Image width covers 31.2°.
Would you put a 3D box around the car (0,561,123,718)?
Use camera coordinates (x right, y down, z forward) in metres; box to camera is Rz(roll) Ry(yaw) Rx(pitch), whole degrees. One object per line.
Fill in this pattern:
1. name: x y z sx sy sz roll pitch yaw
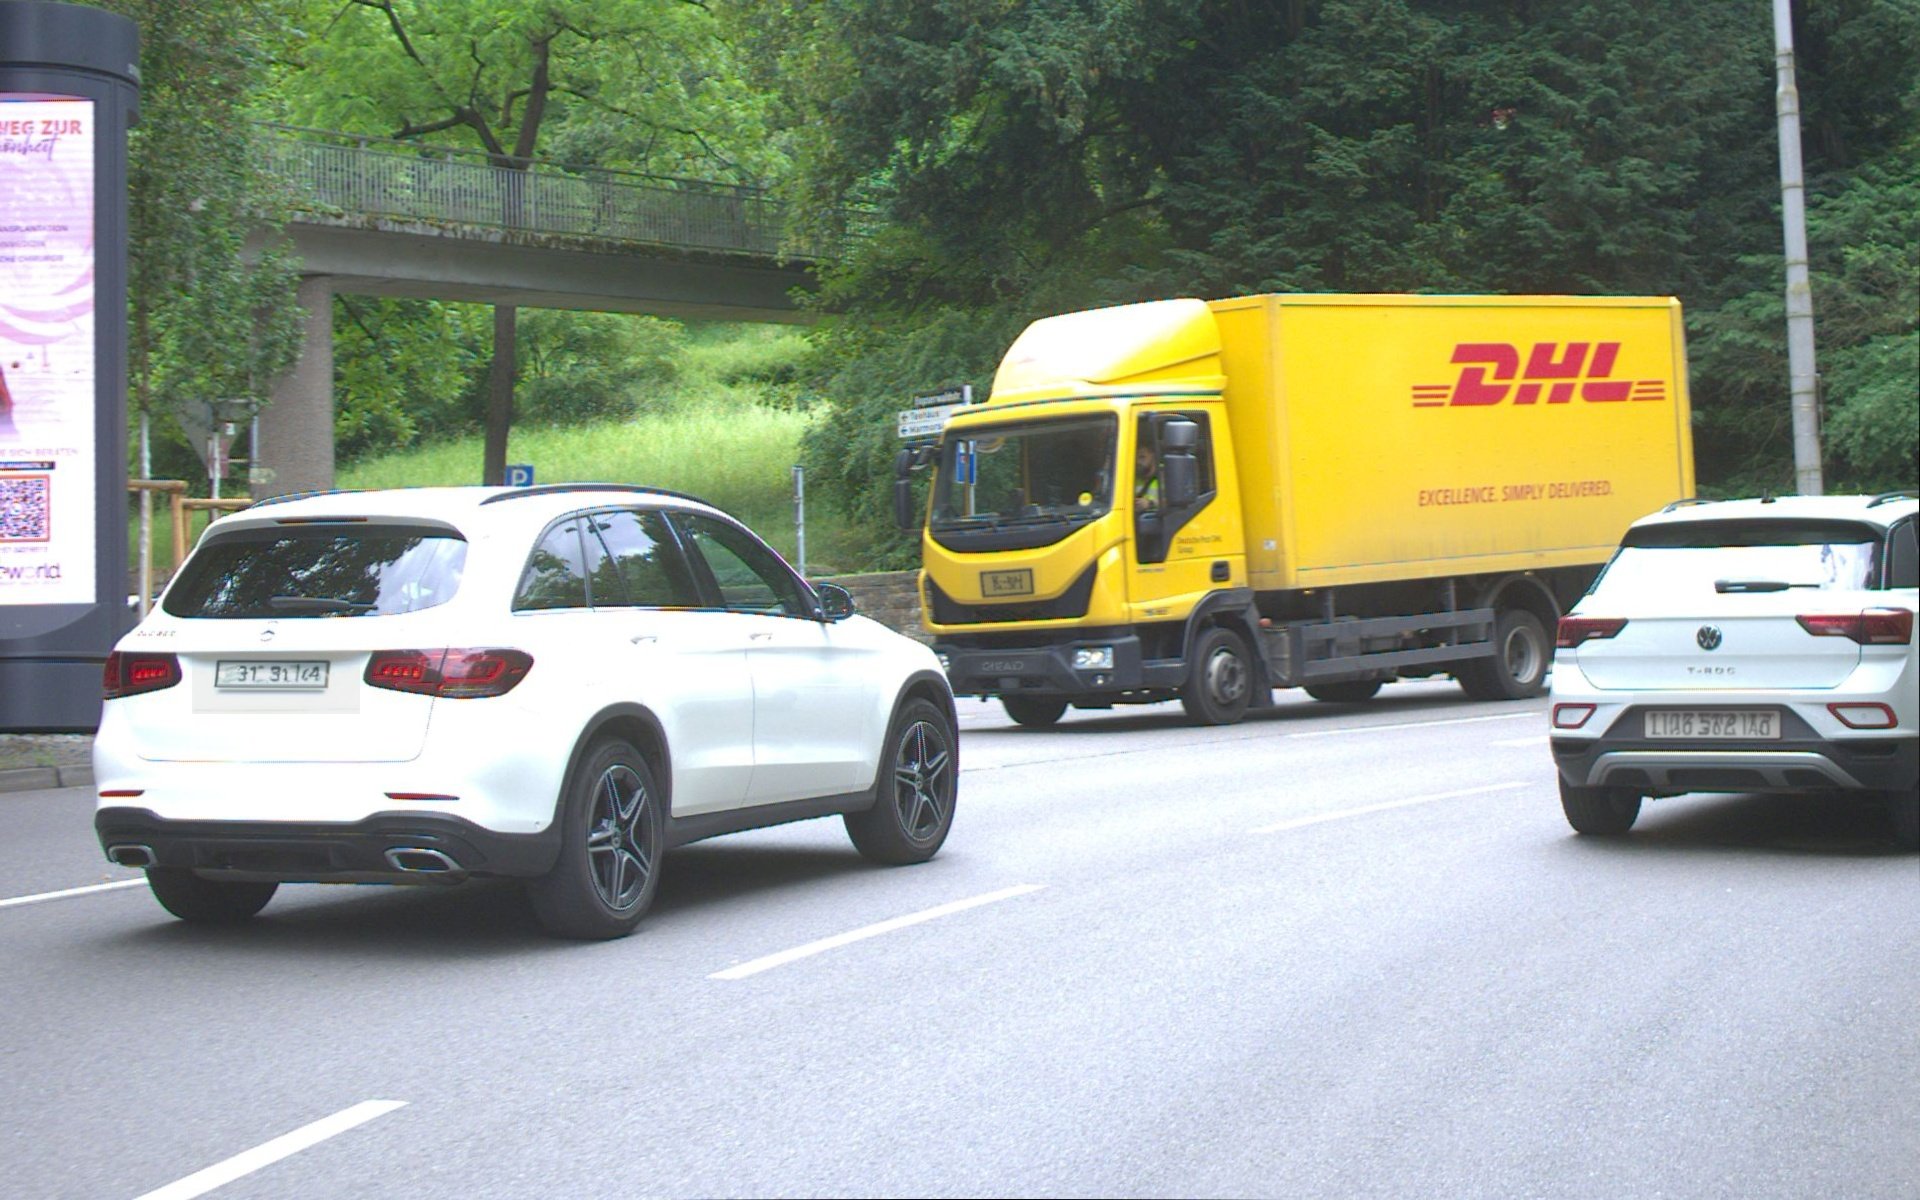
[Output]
1. car: -11.445 0.439 38.887 1.803 1.679 4.540 -1 0 -43

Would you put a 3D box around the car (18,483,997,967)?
1. car: -1.567 0.408 13.873 1.861 1.600 4.665 1 0 22

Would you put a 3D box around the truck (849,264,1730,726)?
1. truck: 2.893 -0.820 28.072 7.562 3.289 2.757 -2 0 -43

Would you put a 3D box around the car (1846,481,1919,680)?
1. car: 9.472 -0.244 28.027 4.763 1.528 1.870 -3 3 -39

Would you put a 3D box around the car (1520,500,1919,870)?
1. car: 4.301 0.291 16.682 1.757 1.547 4.331 0 2 29
